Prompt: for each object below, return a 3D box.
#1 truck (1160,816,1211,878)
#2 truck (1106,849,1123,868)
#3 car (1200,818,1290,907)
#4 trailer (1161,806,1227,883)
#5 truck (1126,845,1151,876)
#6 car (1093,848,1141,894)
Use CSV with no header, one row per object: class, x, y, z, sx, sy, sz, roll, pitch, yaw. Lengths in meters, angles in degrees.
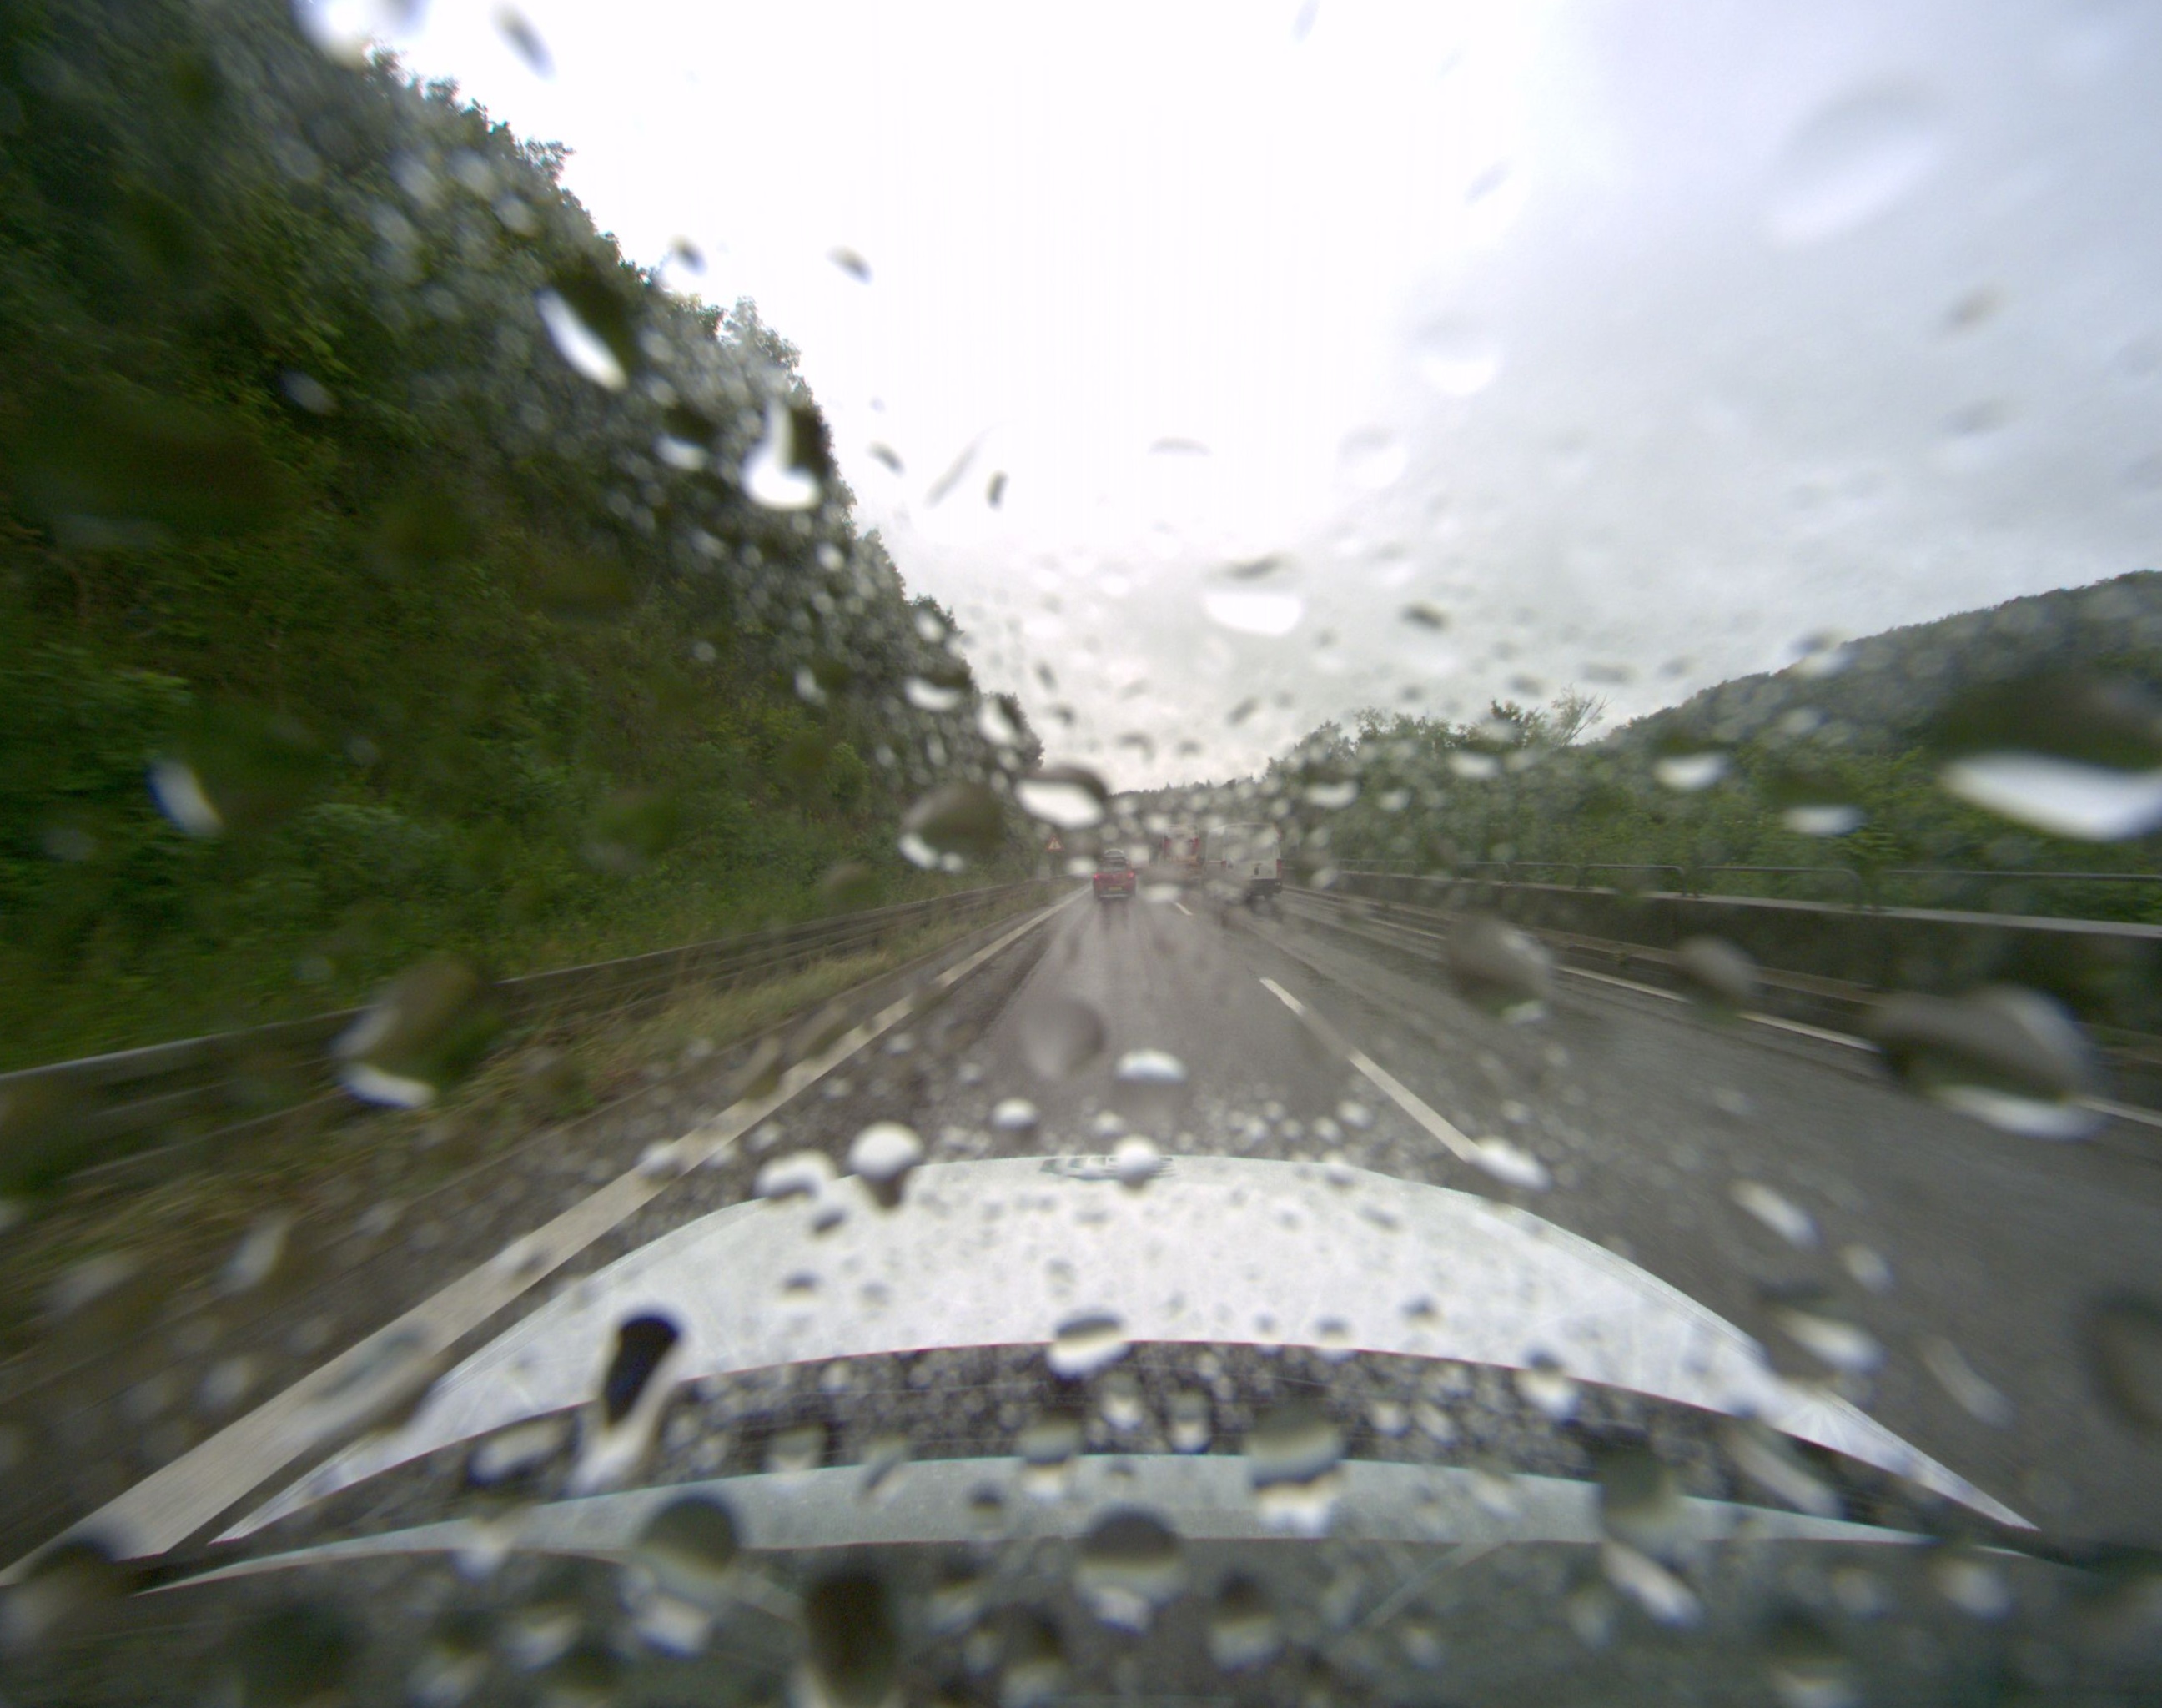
truck,7.162,-0.434,56.382,3.204,3.978,5.446,-1,-1,5
truck,6.314,0.828,152.444,3.050,3.312,8.073,-1,0,2
car,5.685,0.288,29.296,2.196,2.794,7.389,0,0,3
trailer,6.601,-0.476,49.675,3.203,3.999,13.542,-1,0,5
truck,8.064,0.950,115.437,2.678,4.094,9.314,-3,-1,1
car,1.555,0.685,33.879,1.750,1.684,4.005,-4,-1,5
